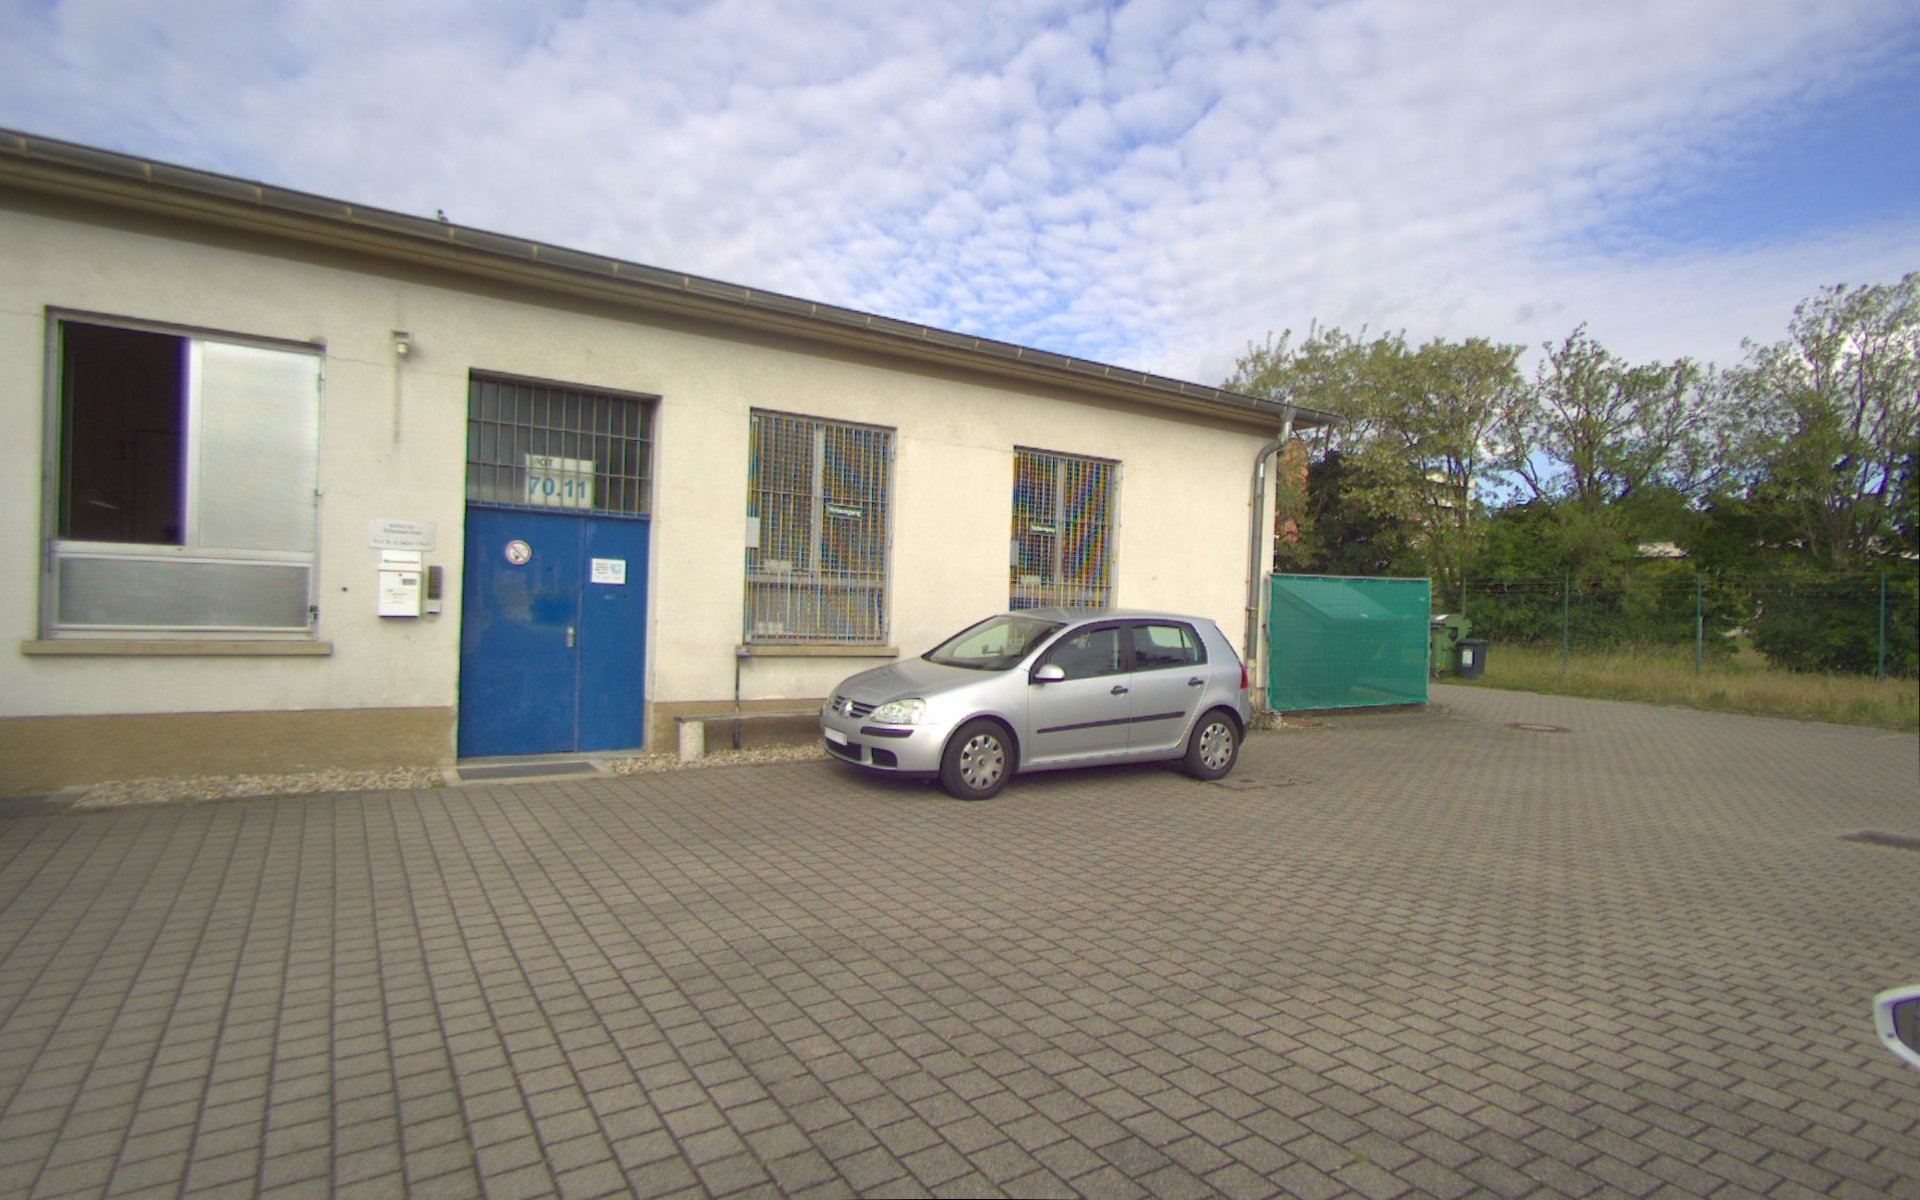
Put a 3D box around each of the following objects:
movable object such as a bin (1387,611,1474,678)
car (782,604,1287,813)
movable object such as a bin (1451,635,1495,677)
[{"bbox_3d":[10.357,0.971,22.144,1.116,1.414,1.348,2,-1,-24],"label":"movable object such as a bin"},{"bbox_3d":[0.784,0.820,9.121,4.322,1.458,1.913,2,0,-34],"label":"car"},{"bbox_3d":[10.889,1.186,21.311,0.593,0.877,0.582,2,-1,-24],"label":"movable object such as a bin"}]
